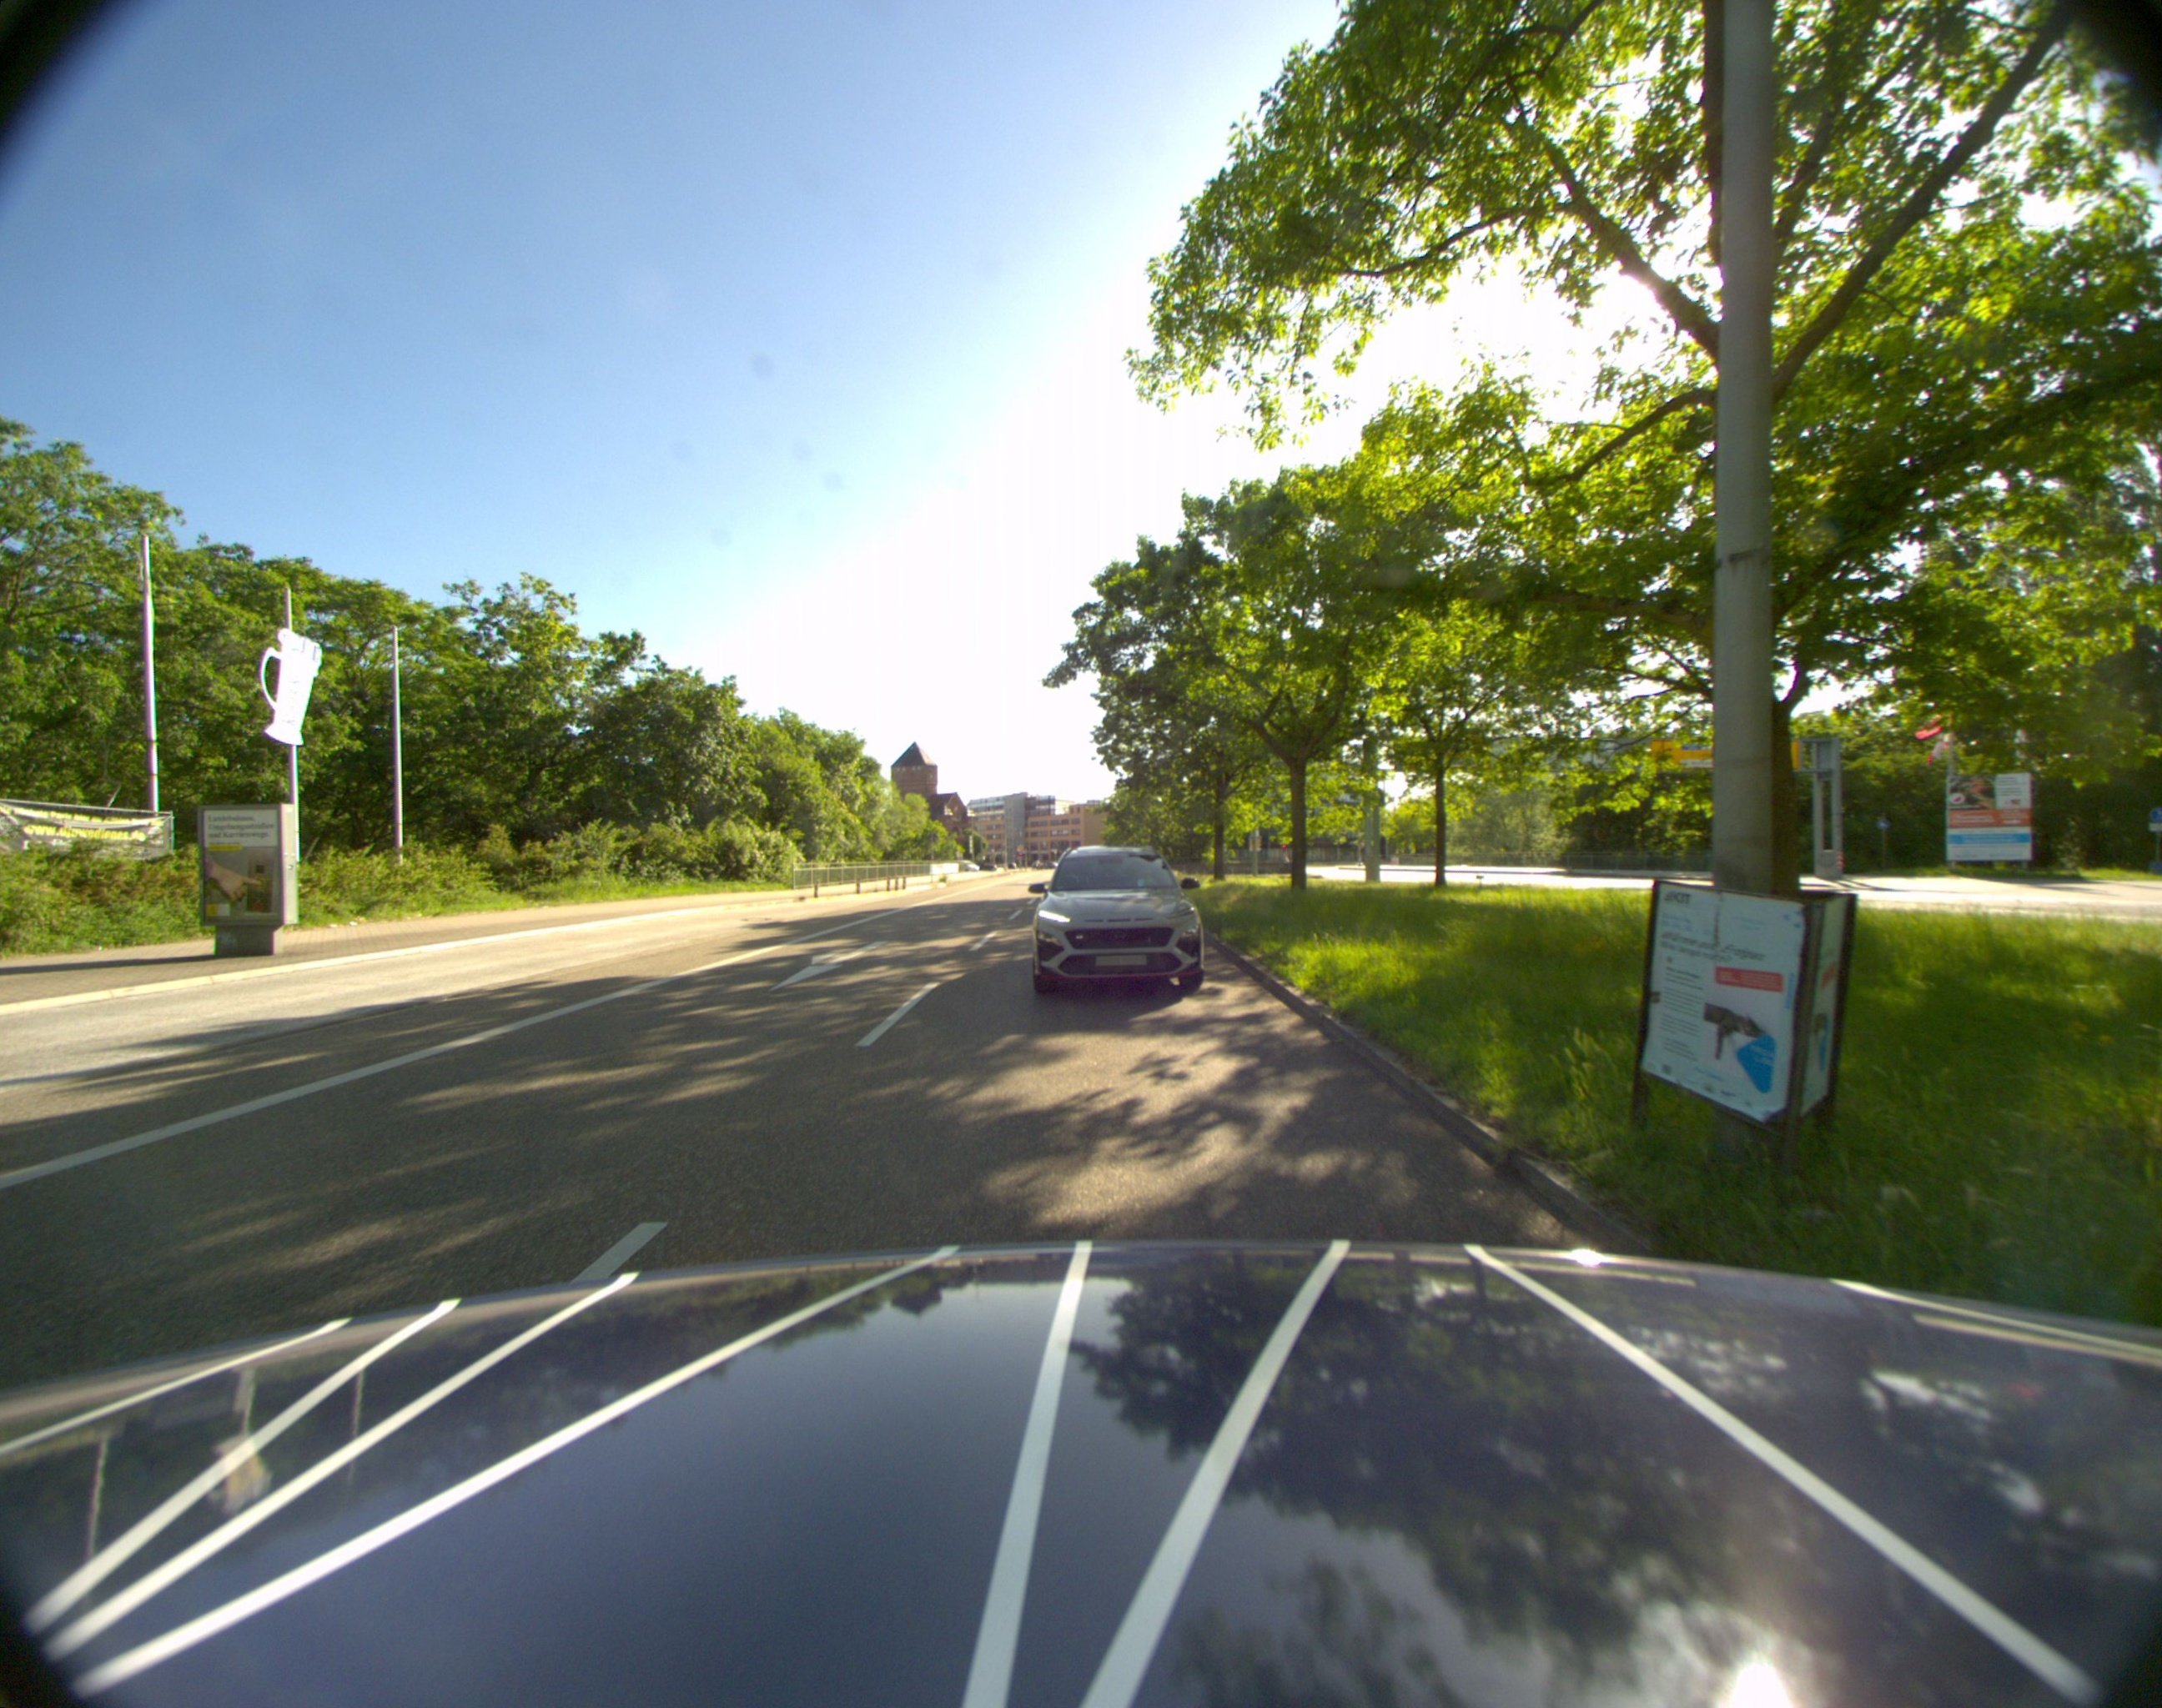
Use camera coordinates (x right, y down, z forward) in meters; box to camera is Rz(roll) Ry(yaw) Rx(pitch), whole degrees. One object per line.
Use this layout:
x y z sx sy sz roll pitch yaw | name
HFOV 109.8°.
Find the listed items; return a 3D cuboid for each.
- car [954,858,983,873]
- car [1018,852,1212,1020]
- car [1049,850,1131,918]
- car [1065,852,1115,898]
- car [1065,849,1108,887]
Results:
-15.898 1.621 107.682 3.991 1.537 1.751 -8 -10 36 | car
0.349 0.760 9.089 1.780 1.542 3.980 -1 0 1 | car
0.338 0.696 19.765 1.744 1.539 4.001 -2 0 6 | car
0.349 0.721 28.332 1.678 1.499 3.948 -2 1 1 | car
0.301 0.614 35.467 1.833 1.638 4.000 -1 1 2 | car
